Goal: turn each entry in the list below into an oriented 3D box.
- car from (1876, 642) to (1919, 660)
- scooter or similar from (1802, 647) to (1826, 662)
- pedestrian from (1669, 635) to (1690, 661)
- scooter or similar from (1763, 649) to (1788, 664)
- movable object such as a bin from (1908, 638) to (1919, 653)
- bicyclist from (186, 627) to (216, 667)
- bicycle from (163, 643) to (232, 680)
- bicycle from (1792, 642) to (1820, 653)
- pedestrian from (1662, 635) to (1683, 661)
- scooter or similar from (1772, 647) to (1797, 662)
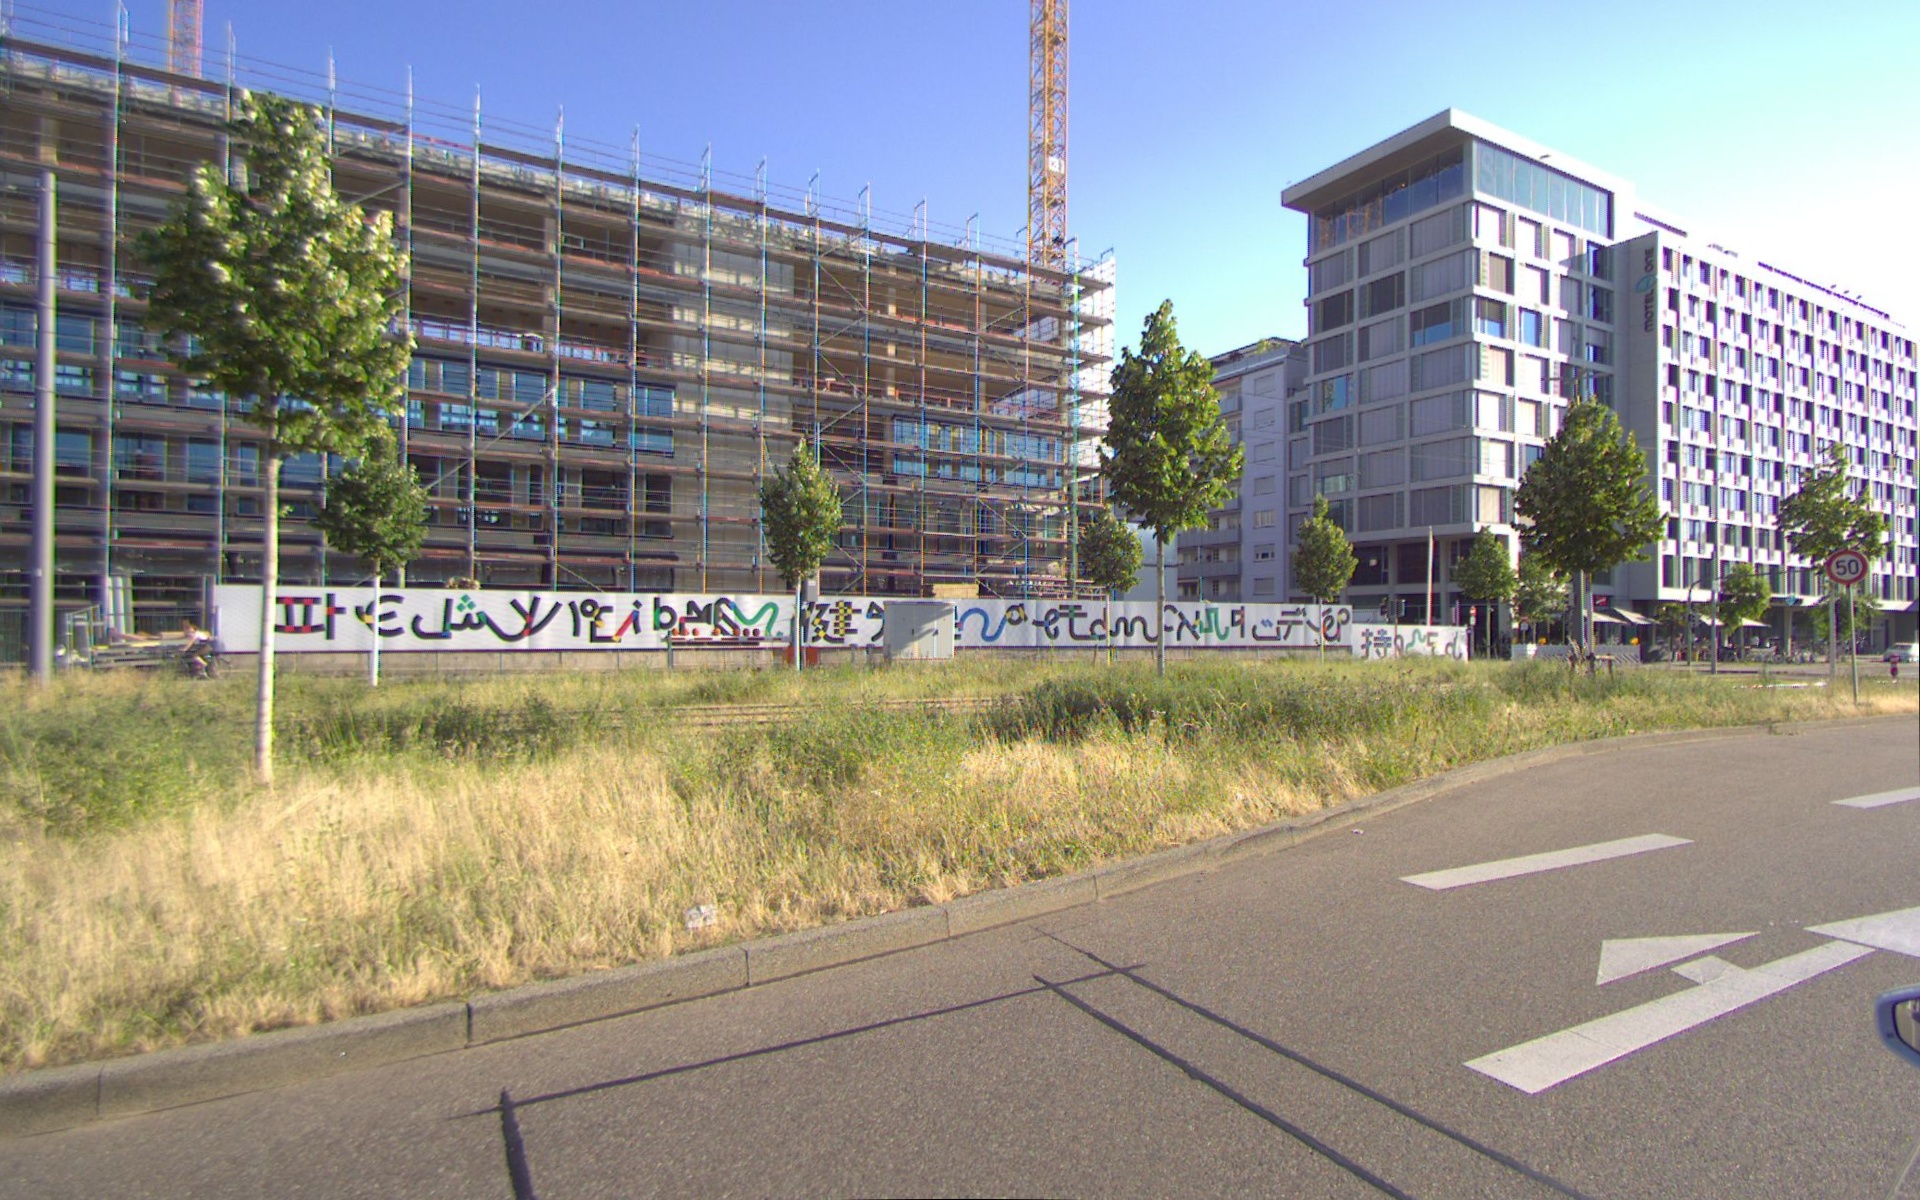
[{"bbox_3d":[75.016,4.034,80.112,3.952,1.345,1.749,2,0,-30],"label":"car"},{"bbox_3d":[61.650,3.925,72.533,0.429,1.032,1.238,1,-2,-28],"label":"scooter or similar"},{"bbox_3d":[50.016,3.336,69.827,0.791,1.744,0.868,1,-1,-20],"label":"pedestrian"},{"bbox_3d":[56.445,3.893,69.551,0.504,1.032,1.238,1,-2,-28],"label":"scooter or similar"},{"bbox_3d":[96.254,4.581,101.121,1.386,1.459,0.796,1,-2,-30],"label":"movable object such as a bin"},{"bbox_3d":[-22.628,1.400,29.959,0.631,1.169,0.476,1,-2,-30],"label":"bicyclist"},{"bbox_3d":[-22.663,1.806,29.875,1.546,1.075,0.476,1,-2,-30],"label":"bicycle"},{"bbox_3d":[74.807,4.219,88.834,0.507,0.917,1.792,2,-2,-35],"label":"bicycle"},{"bbox_3d":[49.302,3.318,69.499,0.791,1.744,0.868,1,-1,-20],"label":"pedestrian"},{"bbox_3d":[57.736,3.820,70.337,0.429,1.032,1.238,1,-2,-28],"label":"scooter or similar"}]
